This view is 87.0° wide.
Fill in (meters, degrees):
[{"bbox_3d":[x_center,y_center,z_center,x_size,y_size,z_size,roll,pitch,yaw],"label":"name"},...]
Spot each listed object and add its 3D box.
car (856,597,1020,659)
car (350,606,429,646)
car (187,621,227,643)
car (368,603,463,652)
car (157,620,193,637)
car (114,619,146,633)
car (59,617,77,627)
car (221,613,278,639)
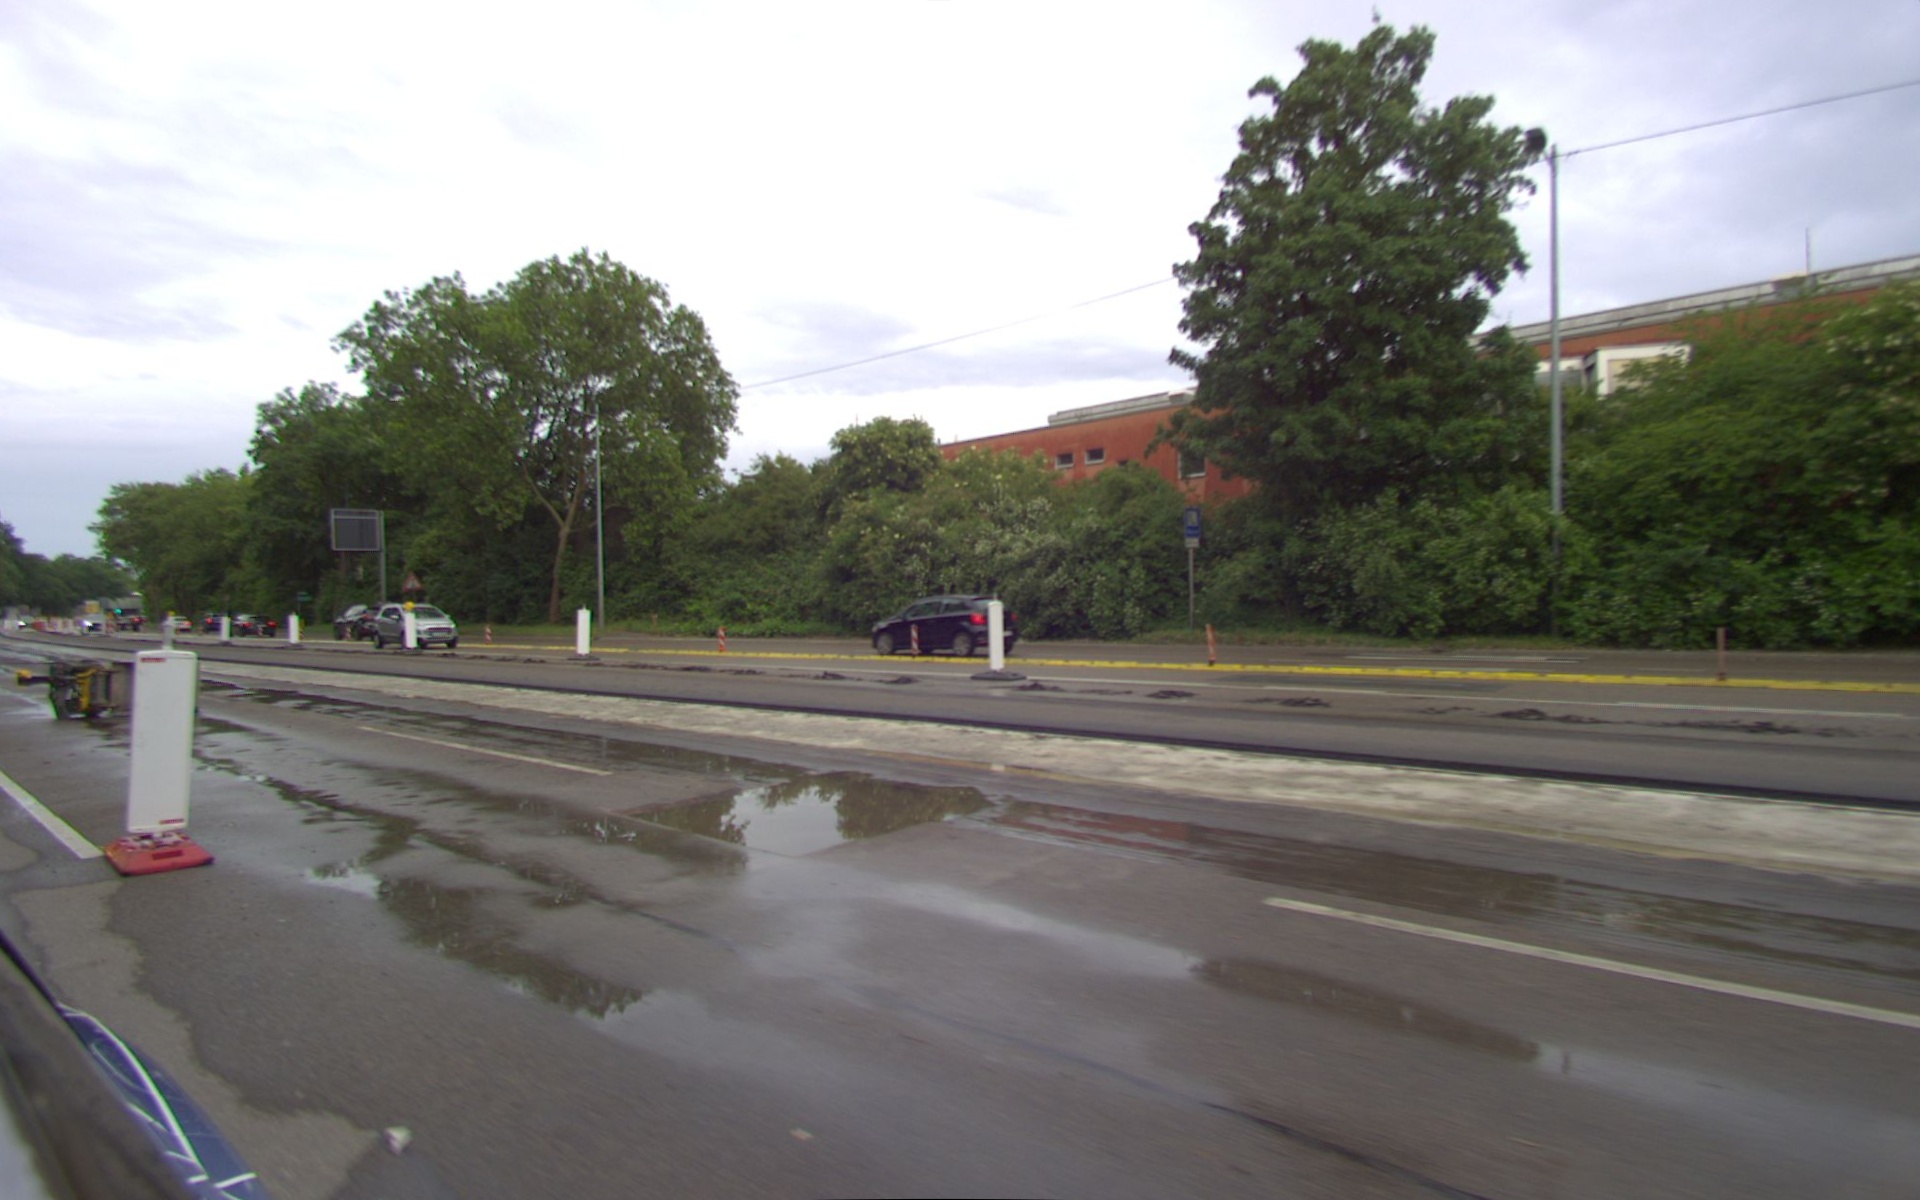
[{"bbox_3d":[-0.569,0.641,23.987,3.856,1.342,1.434,-1,0,39],"label":"car"},{"bbox_3d":[-26.070,1.168,46.181,4.491,1.735,1.717,-1,0,41],"label":"car"},{"bbox_3d":[-60.322,2.568,81.078,4.531,1.698,1.636,-1,0,41],"label":"car"},{"bbox_3d":[-19.378,0.956,35.959,3.860,1.596,1.770,-1,0,42],"label":"car"},{"bbox_3d":[-72.670,2.625,93.675,4.600,1.430,1.799,-1,0,41],"label":"car"},{"bbox_3d":[-82.045,2.546,100.001,4.203,1.366,1.799,-1,-2,41],"label":"car"},{"bbox_3d":[-153.123,3.824,173.705,4.914,1.676,1.757,-1,-2,42],"label":"car"},{"bbox_3d":[-44.207,1.601,62.965,4.897,1.495,1.742,-1,0,41],"label":"car"}]
